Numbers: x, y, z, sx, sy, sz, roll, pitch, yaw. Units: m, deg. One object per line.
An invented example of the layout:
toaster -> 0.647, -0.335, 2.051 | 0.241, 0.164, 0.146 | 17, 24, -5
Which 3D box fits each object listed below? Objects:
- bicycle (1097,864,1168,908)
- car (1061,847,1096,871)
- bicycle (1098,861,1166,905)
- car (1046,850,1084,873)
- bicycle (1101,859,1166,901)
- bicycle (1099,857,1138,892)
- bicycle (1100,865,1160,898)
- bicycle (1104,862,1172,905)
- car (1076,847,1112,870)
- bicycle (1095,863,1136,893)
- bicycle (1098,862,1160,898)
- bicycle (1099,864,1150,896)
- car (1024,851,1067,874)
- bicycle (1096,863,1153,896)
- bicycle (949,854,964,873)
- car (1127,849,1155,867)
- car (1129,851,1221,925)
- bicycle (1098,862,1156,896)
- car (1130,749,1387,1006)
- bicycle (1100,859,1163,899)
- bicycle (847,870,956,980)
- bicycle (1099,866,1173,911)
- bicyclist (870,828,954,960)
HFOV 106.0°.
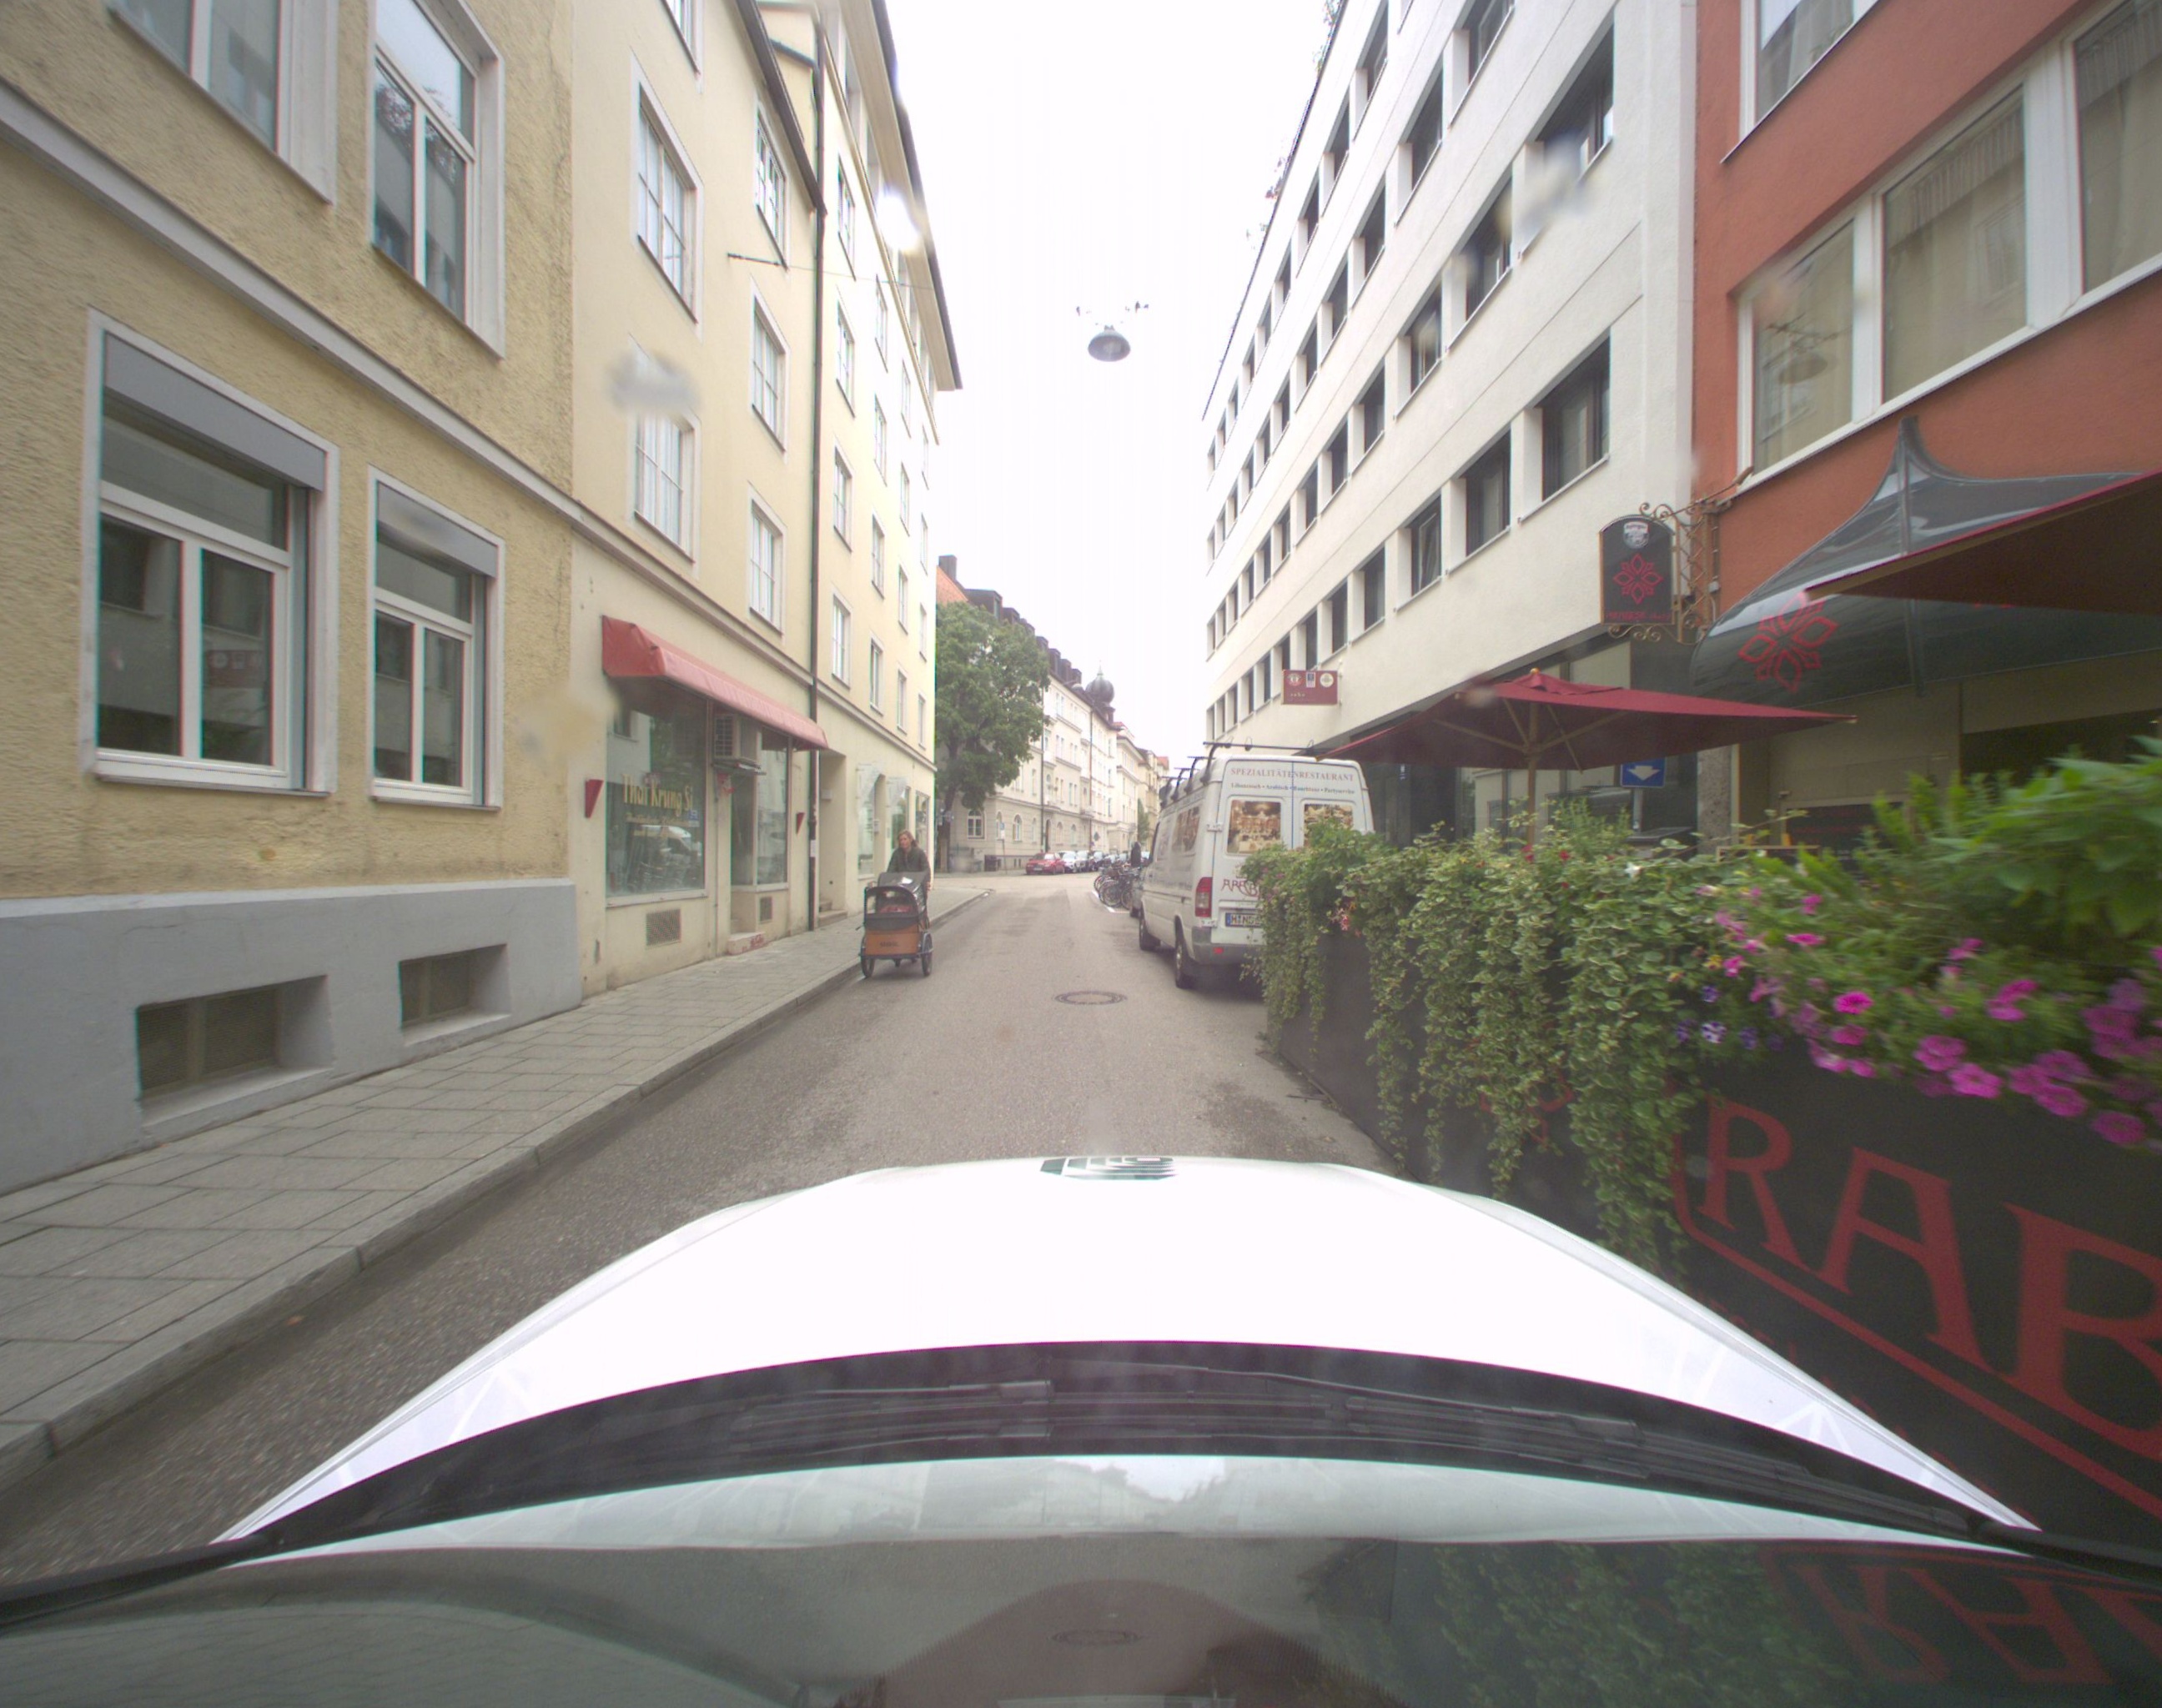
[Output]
bicycle -> 1.416, 0.877, 22.361 | 1.870, 1.108, 0.488 | 2, 1, -4
car -> -0.139, 0.342, 60.611 | 1.932, 1.702, 4.010 | 1, 0, 8
bicycle -> 1.430, 0.821, 22.882 | 1.870, 1.204, 0.488 | 0, 1, -4
car -> -1.031, 0.487, 55.434 | 1.983, 1.473, 4.226 | 0, 0, 7
bicycle -> 1.548, 0.757, 24.301 | 1.870, 1.204, 0.579 | -1, 0, -4
bicycle -> 1.414, 0.768, 30.790 | 1.452, 1.285, 0.445 | 1, 0, -1
bicycle -> 1.569, 0.888, 26.175 | 1.871, 1.052, 0.563 | 0, -2, -6
bicycle -> 1.635, 0.859, 23.572 | 1.870, 1.157, 0.564 | 2, 1, -4
car -> 1.064, 0.318, 65.191 | 1.980, 1.738, 4.538 | 1, 0, 13
bicycle -> 1.254, 0.883, 29.774 | 1.451, 1.069, 0.462 | 1, 0, -10
bicycle -> 1.490, 0.819, 25.469 | 1.871, 1.095, 0.439 | 0, 1, -6
bicycle -> 1.537, 0.900, 28.550 | 1.737, 1.079, 0.451 | 0, 1, -6
car -> -2.167, 0.512, 50.503 | 1.720, 1.378, 4.239 | 0, 0, 10
bicycle -> 1.464, 0.840, 27.308 | 1.871, 1.079, 0.408 | 0, 1, -6
bicycle -> -7.519, 0.565, 49.238 | 0.491, 1.052, 1.829 | 1, 2, 4
car -> 5.302, 0.329, 71.383 | 1.945, 1.607, 4.322 | 0, 0, 11
car -> 1.973, 0.682, 17.997 | 1.575, 1.464, 3.550 | 0, 0, -1
bicycle -> 1.512, 0.831, 26.871 | 1.871, 1.079, 0.402 | 0, 1, -6
car -> 1.955, 0.225, 11.099 | 1.916, 2.506, 5.991 | 1, 0, -2
bicycle -> 1.533, 0.760, 24.921 | 1.890, 1.170, 0.565 | 0, 0, -5
bicycle -> -2.290, 0.855, 10.771 | 0.929, 1.257, 2.413 | -1, 0, -1
bicycle -> 1.443, 0.898, 21.413 | 1.870, 1.079, 0.488 | 2, 1, -4
bicyclist -> -2.307, 0.522, 11.255 | 0.924, 1.721, 1.099 | -1, 0, -1
